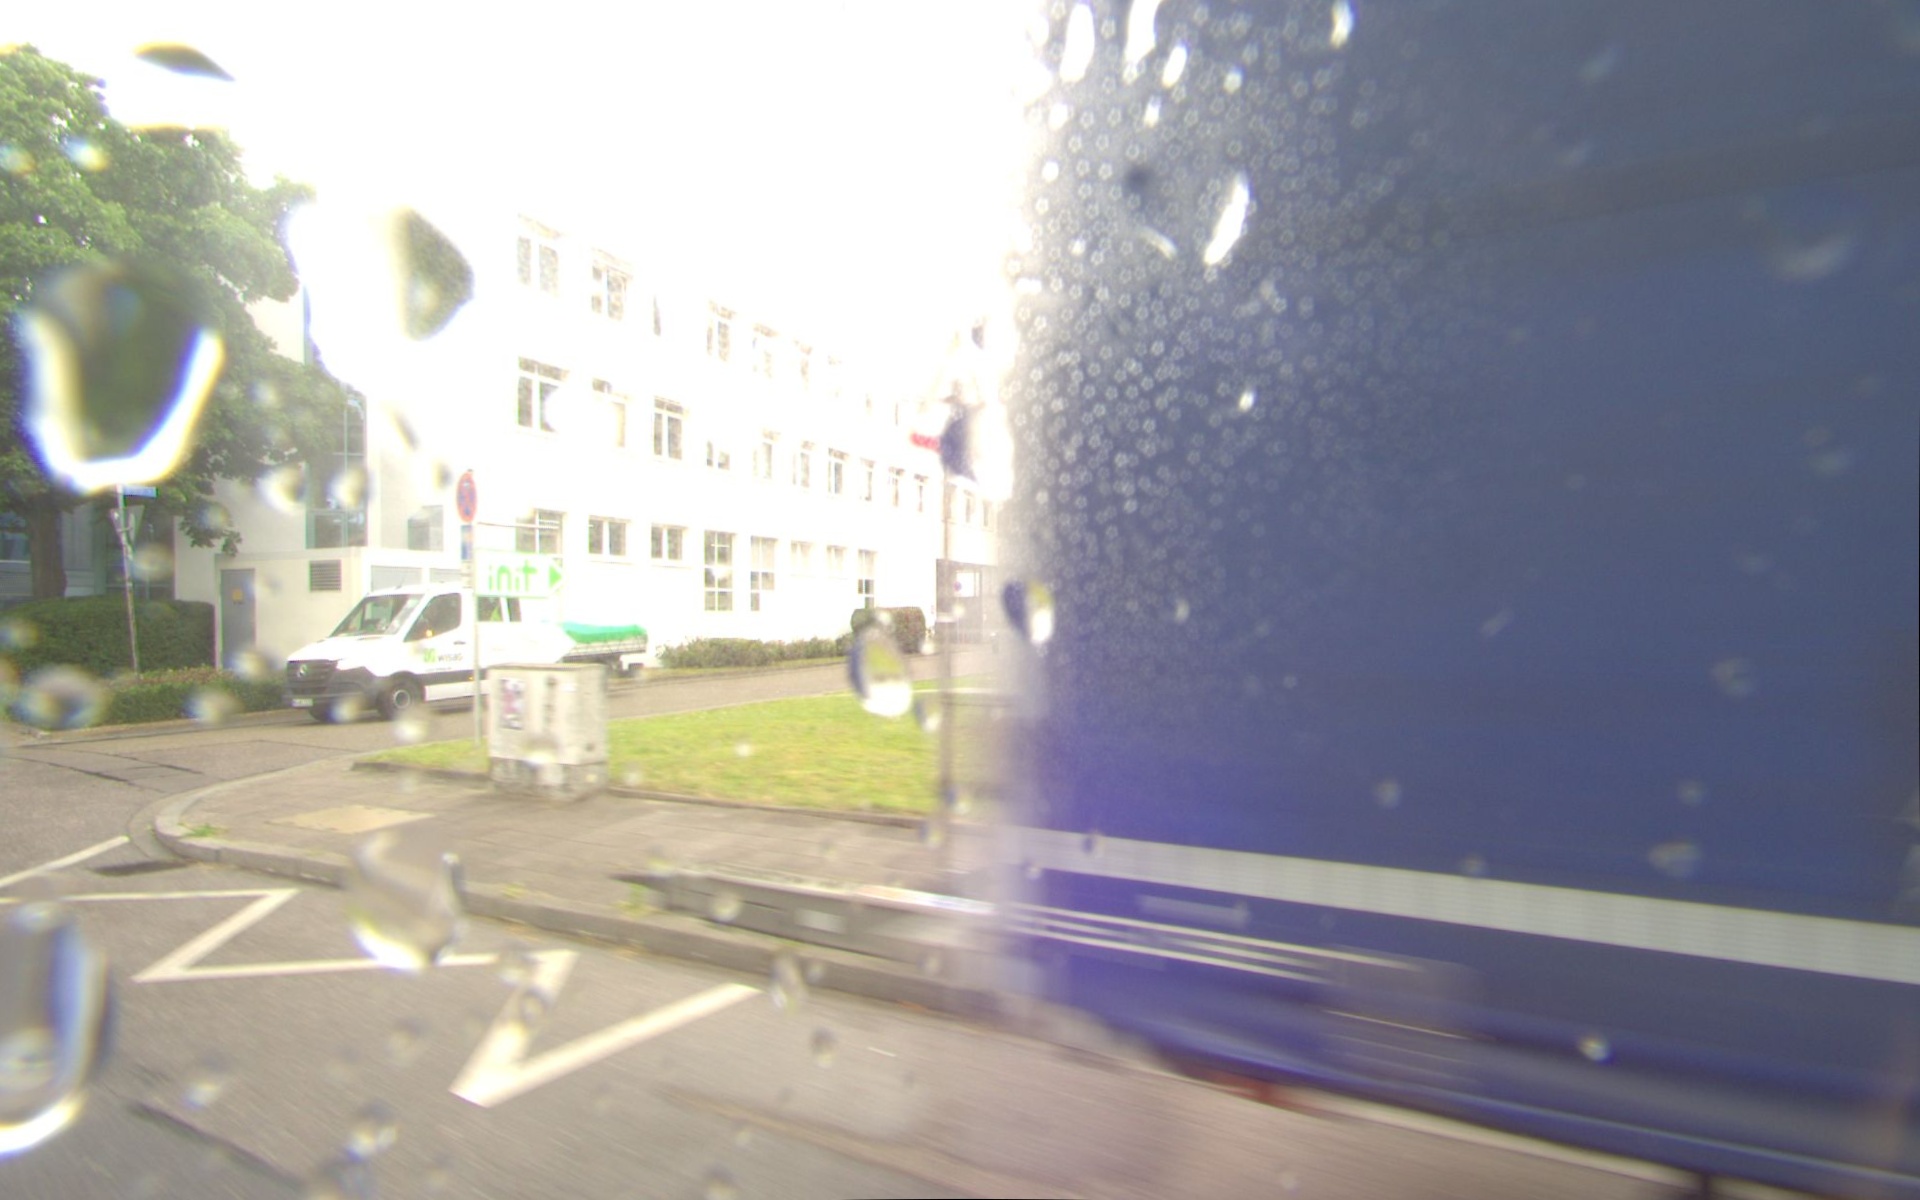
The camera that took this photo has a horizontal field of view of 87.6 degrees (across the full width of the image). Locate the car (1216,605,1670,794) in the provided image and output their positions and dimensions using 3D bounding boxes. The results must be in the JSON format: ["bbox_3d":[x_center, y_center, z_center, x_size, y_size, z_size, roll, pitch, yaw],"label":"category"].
[{"bbox_3d":[4.377,0.856,9.056,3.722,1.414,1.721,3,-2,-25],"label":"car"}]

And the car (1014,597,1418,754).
[{"bbox_3d":[2.798,0.754,10.890,4.085,1.434,1.684,2,0,-25],"label":"car"}]

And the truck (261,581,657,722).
[{"bbox_3d":[-8.932,0.844,18.910,2.060,2.168,6.924,0,-1,25],"label":"truck"}]

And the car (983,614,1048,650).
[{"bbox_3d":[2.593,1.435,45.998,1.965,1.617,3.993,0,-1,19],"label":"car"}]

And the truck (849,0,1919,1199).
[{"bbox_3d":[3.864,-0.340,0.719,7.629,3.656,2.741,-1,-3,28],"label":"truck"}]
